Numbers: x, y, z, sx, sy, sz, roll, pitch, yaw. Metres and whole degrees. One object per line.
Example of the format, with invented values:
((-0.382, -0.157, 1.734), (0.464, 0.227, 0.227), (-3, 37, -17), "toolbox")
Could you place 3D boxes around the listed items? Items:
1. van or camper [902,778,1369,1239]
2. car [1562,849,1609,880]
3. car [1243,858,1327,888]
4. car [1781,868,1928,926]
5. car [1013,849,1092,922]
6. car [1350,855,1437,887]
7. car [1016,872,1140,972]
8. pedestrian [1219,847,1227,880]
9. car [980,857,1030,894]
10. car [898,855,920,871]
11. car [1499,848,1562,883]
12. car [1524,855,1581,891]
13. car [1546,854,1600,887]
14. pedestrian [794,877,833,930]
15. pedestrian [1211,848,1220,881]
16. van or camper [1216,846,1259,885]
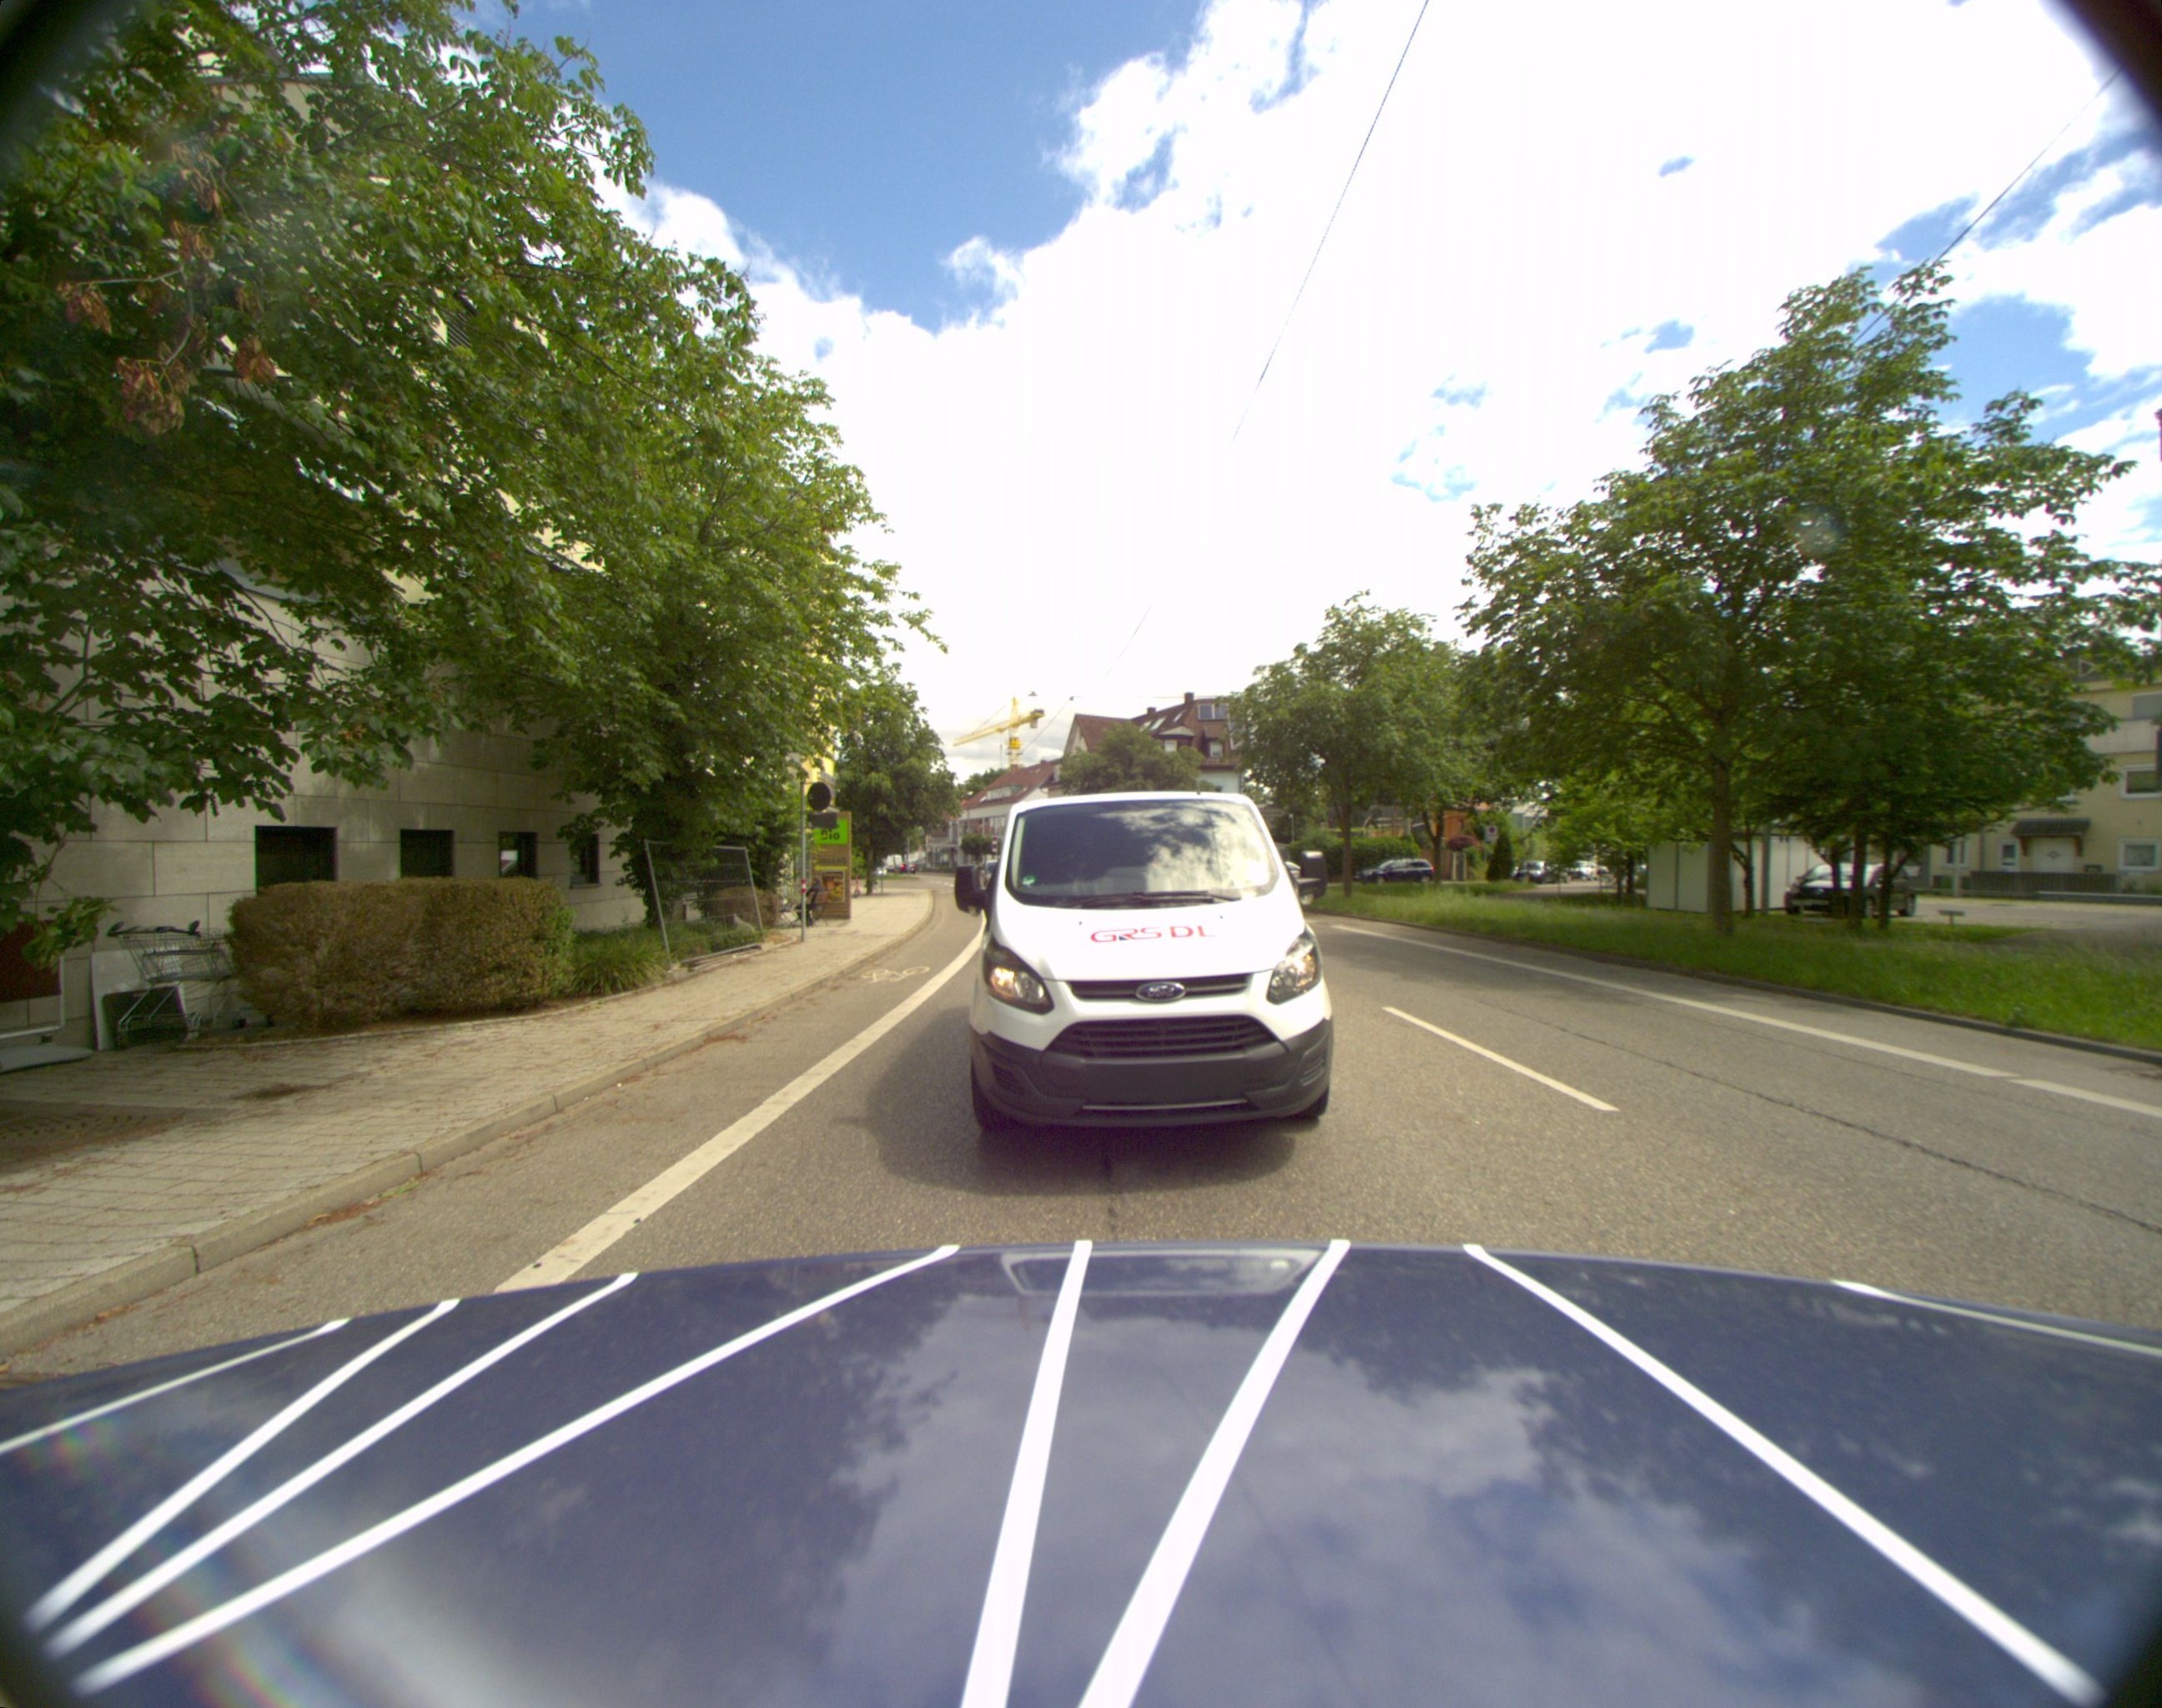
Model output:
((0.297, 0.672, 5.858), (2.027, 2.002, 5.103), (0, 0, 1), "van or camper")
((36.330, 0.768, 54.674), (4.007, 2.002, 1.893), (-3, 1, -42), "car")
((10.860, 0.985, 40.444), (4.046, 1.314, 1.534), (-3, 1, -13), "car")
((20.932, 1.106, 20.540), (4.007, 1.411, 1.789), (1, -1, -29), "car")
((-0.909, 0.791, 21.622), (1.853, 1.805, 3.997), (-3, 1, -7), "car")
((16.644, 0.888, 40.581), (3.976, 1.672, 1.717), (0, 1, -3), "car")
((-0.211, 1.069, 13.435), (1.841, 1.382, 3.998), (0, 0, -5), "car")
((8.739, 0.570, 46.791), (0.383, 1.979, 0.443), (-2, 1, 0), "pedestrian")
((-3.471, 0.953, 35.313), (1.693, 1.477, 4.000), (-2, 1, 3), "car")
((-20.303, 1.057, 89.603), (1.744, 1.840, 3.991), (0, 0, -26), "car")
((27.126, 0.658, 45.833), (4.008, 2.002, 1.976), (0, 0, -39), "car")
((30.322, 1.197, 48.812), (4.007, 2.002, 1.994), (-3, 1, -42), "car")
((33.523, 1.081, 51.757), (4.007, 2.002, 1.994), (-3, 1, -41), "car")
((-6.779, 1.244, 19.291), (0.731, 1.293, 0.754), (0, 1, 0), "pedestrian")
((8.279, 0.615, 46.725), (0.425, 2.002, 0.363), (-2, 1, 1), "pedestrian")
((9.120, 0.618, 44.619), (1.793, 2.077, 3.811), (-2, 1, 2), "van or camper")
